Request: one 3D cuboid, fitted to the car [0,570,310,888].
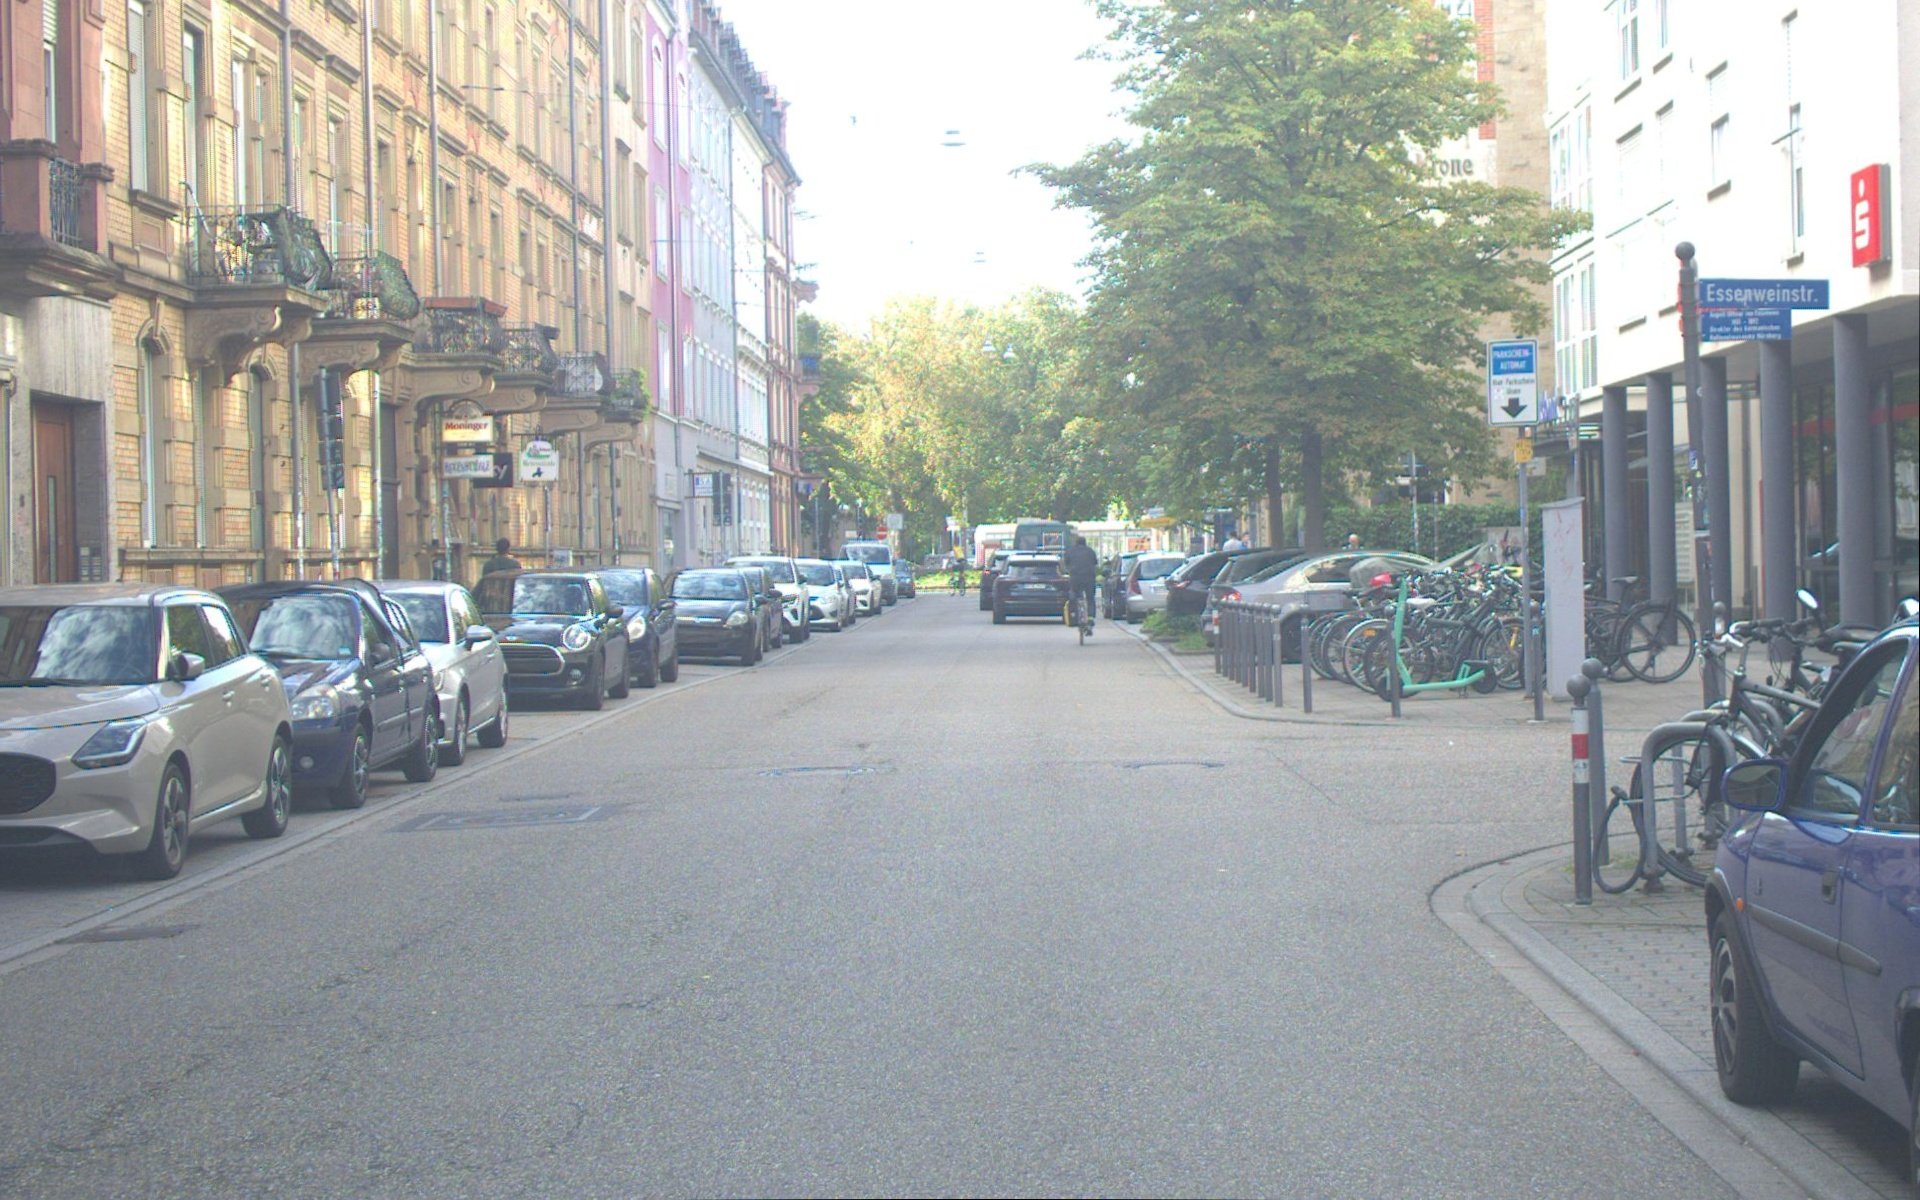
[{"bbox_3d":[-4.788,0.606,18.572,1.741,1.478,3.984,0,1,1],"label":"car"}]

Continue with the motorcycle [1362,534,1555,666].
[{"bbox_3d":[5.900,-0.005,40.779,2.151,1.430,0.765,-3,1,6],"label":"motorcycle"}]

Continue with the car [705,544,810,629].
[{"bbox_3d":[-3.814,-0.277,65.260,1.690,1.545,3.867,0,1,1],"label":"car"}]

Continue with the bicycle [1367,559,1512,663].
[{"bbox_3d":[5.867,0.132,42.127,1.664,1.155,0.557,-3,1,3],"label":"bicycle"}]

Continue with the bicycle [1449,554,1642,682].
[{"bbox_3d":[5.766,0.171,33.875,1.765,1.142,0.411,-3,1,-4],"label":"bicycle"}]

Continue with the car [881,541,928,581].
[{"bbox_3d":[-2.177,-1.560,136.310,1.587,1.533,3.752,0,1,3],"label":"car"}]

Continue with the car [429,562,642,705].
[{"bbox_3d":[-4.436,0.316,36.379,1.690,1.382,3.867,0,1,1],"label":"car"}]

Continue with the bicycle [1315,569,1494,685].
[{"bbox_3d":[4.628,0.279,35.848,1.766,1.095,0.411,-3,1,5],"label":"bicycle"}]

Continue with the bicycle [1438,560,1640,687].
[{"bbox_3d":[5.474,0.216,32.561,1.766,1.083,0.650,-3,1,4],"label":"bicycle"}]

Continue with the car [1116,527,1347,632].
[{"bbox_3d":[4.912,-0.377,61.762,3.988,1.634,2.000,-3,1,7],"label":"car"}]

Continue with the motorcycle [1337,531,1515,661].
[{"bbox_3d":[5.928,-0.054,43.822,2.151,1.525,0.686,-3,1,6],"label":"motorcycle"}]

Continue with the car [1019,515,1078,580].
[{"bbox_3d":[2.796,-1.678,109.309,1.782,2.013,3.888,0,1,1],"label":"car"}]

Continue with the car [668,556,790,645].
[{"bbox_3d":[-3.900,-0.012,58.609,1.690,1.364,3.867,2,1,1],"label":"car"}]

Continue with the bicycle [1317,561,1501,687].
[{"bbox_3d":[4.506,0.237,34.487,1.765,1.142,0.411,-4,1,-18],"label":"bicycle"}]

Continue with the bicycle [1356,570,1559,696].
[{"bbox_3d":[4.616,0.301,31.948,1.765,1.053,0.411,-3,1,-3],"label":"bicycle"}]

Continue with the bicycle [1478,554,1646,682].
[{"bbox_3d":[5.833,0.169,33.333,1.495,1.142,0.411,-3,1,2],"label":"bicycle"}]

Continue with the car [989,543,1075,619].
[{"bbox_3d":[1.709,-0.434,80.991,1.965,1.735,4.041,0,0,2],"label":"car"}]

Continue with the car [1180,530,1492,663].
[{"bbox_3d":[5.005,-0.046,46.006,3.759,1.541,1.731,-3,0,-9],"label":"car"}]

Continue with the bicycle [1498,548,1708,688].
[{"bbox_3d":[5.882,0.162,31.500,1.766,1.158,0.650,-3,1,4],"label":"bicycle"}]

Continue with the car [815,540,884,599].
[{"bbox_3d":[-2.958,-0.832,92.648,1.690,1.545,3.867,0,1,1],"label":"car"}]

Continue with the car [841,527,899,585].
[{"bbox_3d":[-2.830,-1.385,108.948,1.690,1.815,3.867,0,1,1],"label":"car"}]

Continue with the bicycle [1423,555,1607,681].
[{"bbox_3d":[5.555,0.172,34.385,1.765,1.142,0.411,-4,1,-18],"label":"bicycle"}]

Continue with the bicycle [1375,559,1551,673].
[{"bbox_3d":[5.543,0.179,37.903,1.797,1.155,0.499,-3,1,28],"label":"bicycle"}]

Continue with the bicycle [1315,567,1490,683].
[{"bbox_3d":[4.706,0.264,36.590,1.766,1.115,0.411,-3,1,5],"label":"bicycle"}]

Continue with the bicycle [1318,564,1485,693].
[{"bbox_3d":[4.270,0.272,33.261,1.495,1.142,0.411,-3,1,-3],"label":"bicycle"}]

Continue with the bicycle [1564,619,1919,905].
[{"bbox_3d":[3.436,0.643,14.098,1.769,1.091,0.682,-2,1,44],"label":"bicycle"}]

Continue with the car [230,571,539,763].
[{"bbox_3d":[-4.551,0.484,27.699,1.690,1.382,3.867,0,1,2],"label":"car"}]

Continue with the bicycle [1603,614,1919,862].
[{"bbox_3d":[4.023,0.626,15.954,1.962,1.091,0.688,-2,0,44],"label":"bicycle"}]

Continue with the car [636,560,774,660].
[{"bbox_3d":[-3.874,0.121,52.694,1.690,1.364,3.867,2,1,1],"label":"car"}]

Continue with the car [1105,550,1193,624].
[{"bbox_3d":[4.320,-0.328,79.165,1.930,1.632,4.000,0,1,2],"label":"car"}]

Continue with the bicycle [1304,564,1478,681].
[{"bbox_3d":[4.699,0.245,37.525,1.794,1.155,0.500,-3,1,5],"label":"bicycle"}]

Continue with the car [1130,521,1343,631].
[{"bbox_3d":[5.379,-0.479,66.821,3.988,1.678,1.737,-3,9,6],"label":"car"}]

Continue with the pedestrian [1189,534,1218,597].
[{"bbox_3d":[8.588,-1.211,121.485,0.995,2.222,0.898,0,1,2],"label":"pedestrian"}]

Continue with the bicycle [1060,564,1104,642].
[{"bbox_3d":[2.059,0.043,57.960,0.718,1.270,1.884,0,1,2],"label":"bicycle"}]

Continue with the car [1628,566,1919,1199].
[{"bbox_3d":[2.755,0.658,8.374,1.595,1.434,4.030,-2,1,3],"label":"car"}]

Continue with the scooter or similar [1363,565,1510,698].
[{"bbox_3d":[4.339,0.292,31.343,1.207,1.143,0.378,-3,2,33],"label":"scooter or similar"}]

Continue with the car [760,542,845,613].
[{"bbox_3d":[-3.512,-0.518,77.264,1.690,1.545,3.867,0,1,1],"label":"car"}]

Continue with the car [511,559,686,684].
[{"bbox_3d":[-4.437,0.232,42.656,1.690,1.432,3.867,0,1,1],"label":"car"}]

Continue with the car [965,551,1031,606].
[{"bbox_3d":[1.049,-0.622,95.954,1.797,1.467,3.888,0,1,1],"label":"car"}]

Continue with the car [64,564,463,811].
[{"bbox_3d":[-4.606,0.518,23.287,1.742,1.478,3.983,0,1,2],"label":"car"}]

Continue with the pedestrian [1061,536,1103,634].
[{"bbox_3d":[2.062,-0.262,58.041,0.718,1.644,0.930,0,1,2],"label":"pedestrian"}]

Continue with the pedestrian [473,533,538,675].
[{"bbox_3d":[-5.948,0.041,45.042,0.689,1.847,0.931,0,1,3],"label":"pedestrian"}]

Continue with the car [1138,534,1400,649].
[{"bbox_3d":[4.928,-0.148,54.604,3.988,1.578,2.000,-3,1,7],"label":"car"}]

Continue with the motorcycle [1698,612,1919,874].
[{"bbox_3d":[4.101,0.606,14.879,1.664,1.091,0.607,-2,1,44],"label":"motorcycle"}]

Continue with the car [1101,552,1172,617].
[{"bbox_3d":[4.274,-0.390,83.650,1.690,1.545,3.688,0,1,2],"label":"car"}]
